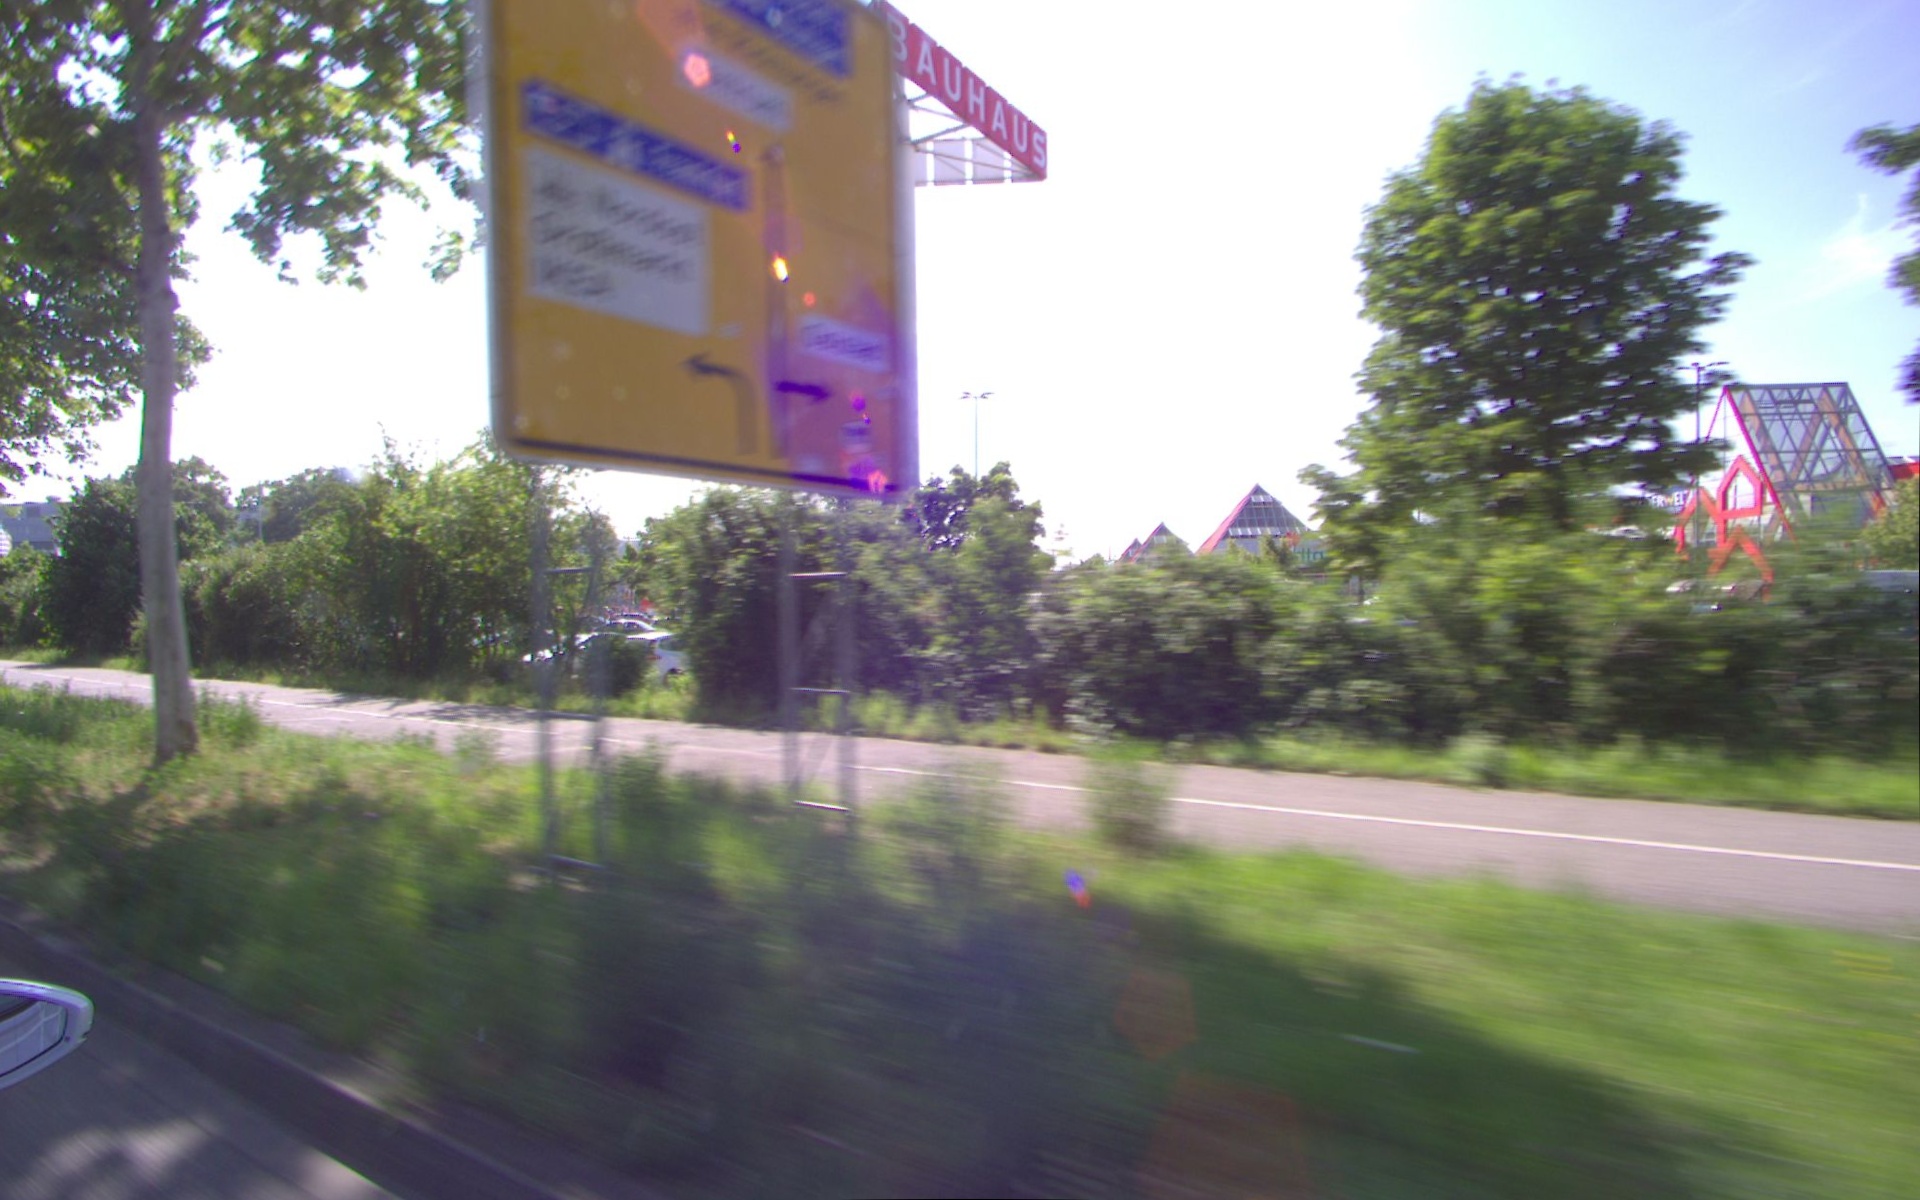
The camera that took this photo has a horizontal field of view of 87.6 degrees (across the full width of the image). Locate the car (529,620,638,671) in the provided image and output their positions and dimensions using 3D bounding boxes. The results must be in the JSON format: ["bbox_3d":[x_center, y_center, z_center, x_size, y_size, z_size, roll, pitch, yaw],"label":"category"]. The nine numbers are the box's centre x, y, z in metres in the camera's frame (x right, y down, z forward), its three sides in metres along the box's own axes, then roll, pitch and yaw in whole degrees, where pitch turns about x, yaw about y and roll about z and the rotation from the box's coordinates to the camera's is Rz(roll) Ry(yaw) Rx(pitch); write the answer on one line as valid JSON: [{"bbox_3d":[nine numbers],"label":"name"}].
[{"bbox_3d":[-12.096,1.433,32.343,1.180,1.475,3.141,-1,0,36],"label":"car"}]

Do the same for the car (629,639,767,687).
[{"bbox_3d":[-7.367,1.745,28.453,1.180,1.240,3.948,-1,-2,36],"label":"car"}]

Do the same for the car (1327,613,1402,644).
[{"bbox_3d":[19.737,1.395,48.978,3.126,1.500,1.603,0,-2,11],"label":"car"}]
